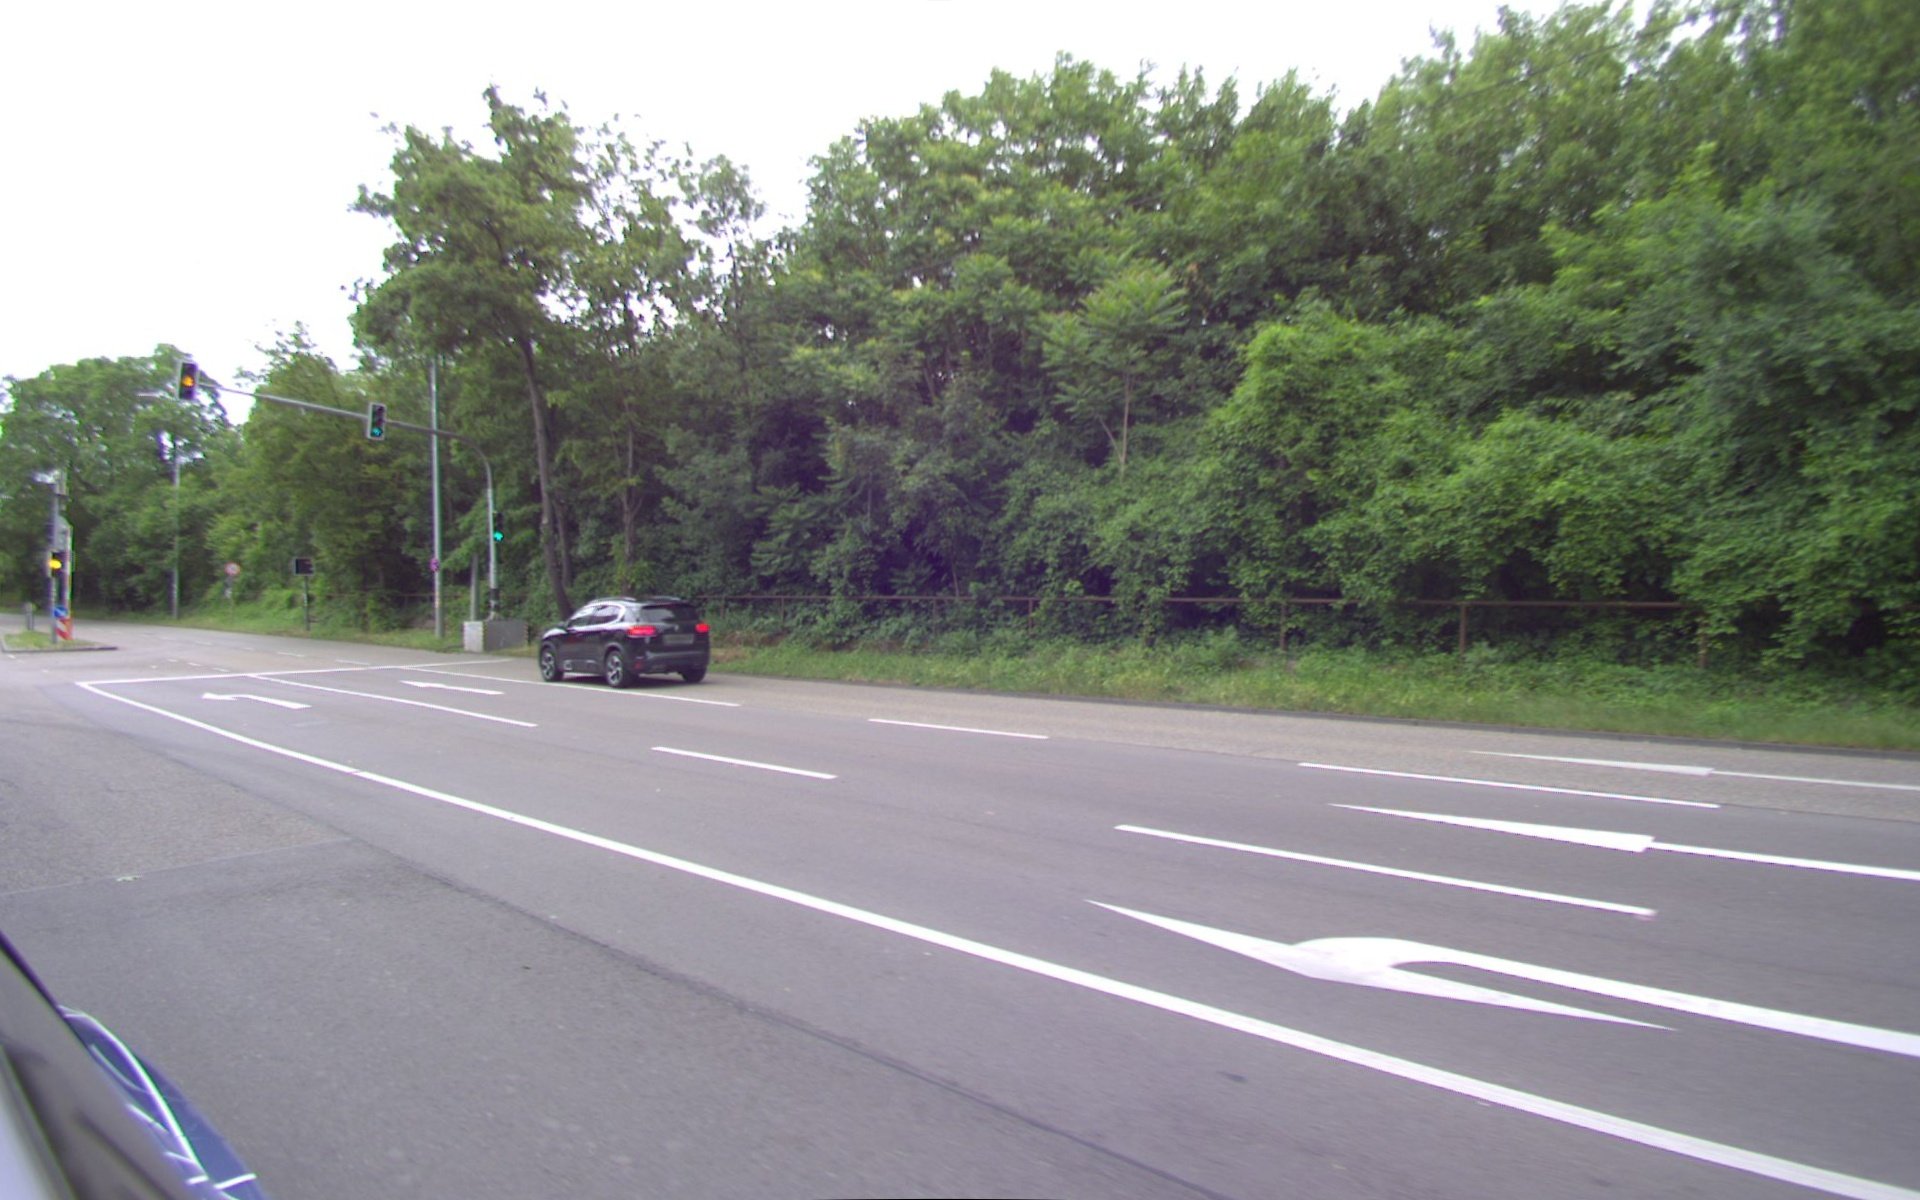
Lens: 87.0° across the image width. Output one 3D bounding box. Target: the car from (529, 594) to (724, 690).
[{"bbox_3d":[-6.645,0.765,19.935,4.221,1.666,1.802,-1,0,42],"label":"car"}]
